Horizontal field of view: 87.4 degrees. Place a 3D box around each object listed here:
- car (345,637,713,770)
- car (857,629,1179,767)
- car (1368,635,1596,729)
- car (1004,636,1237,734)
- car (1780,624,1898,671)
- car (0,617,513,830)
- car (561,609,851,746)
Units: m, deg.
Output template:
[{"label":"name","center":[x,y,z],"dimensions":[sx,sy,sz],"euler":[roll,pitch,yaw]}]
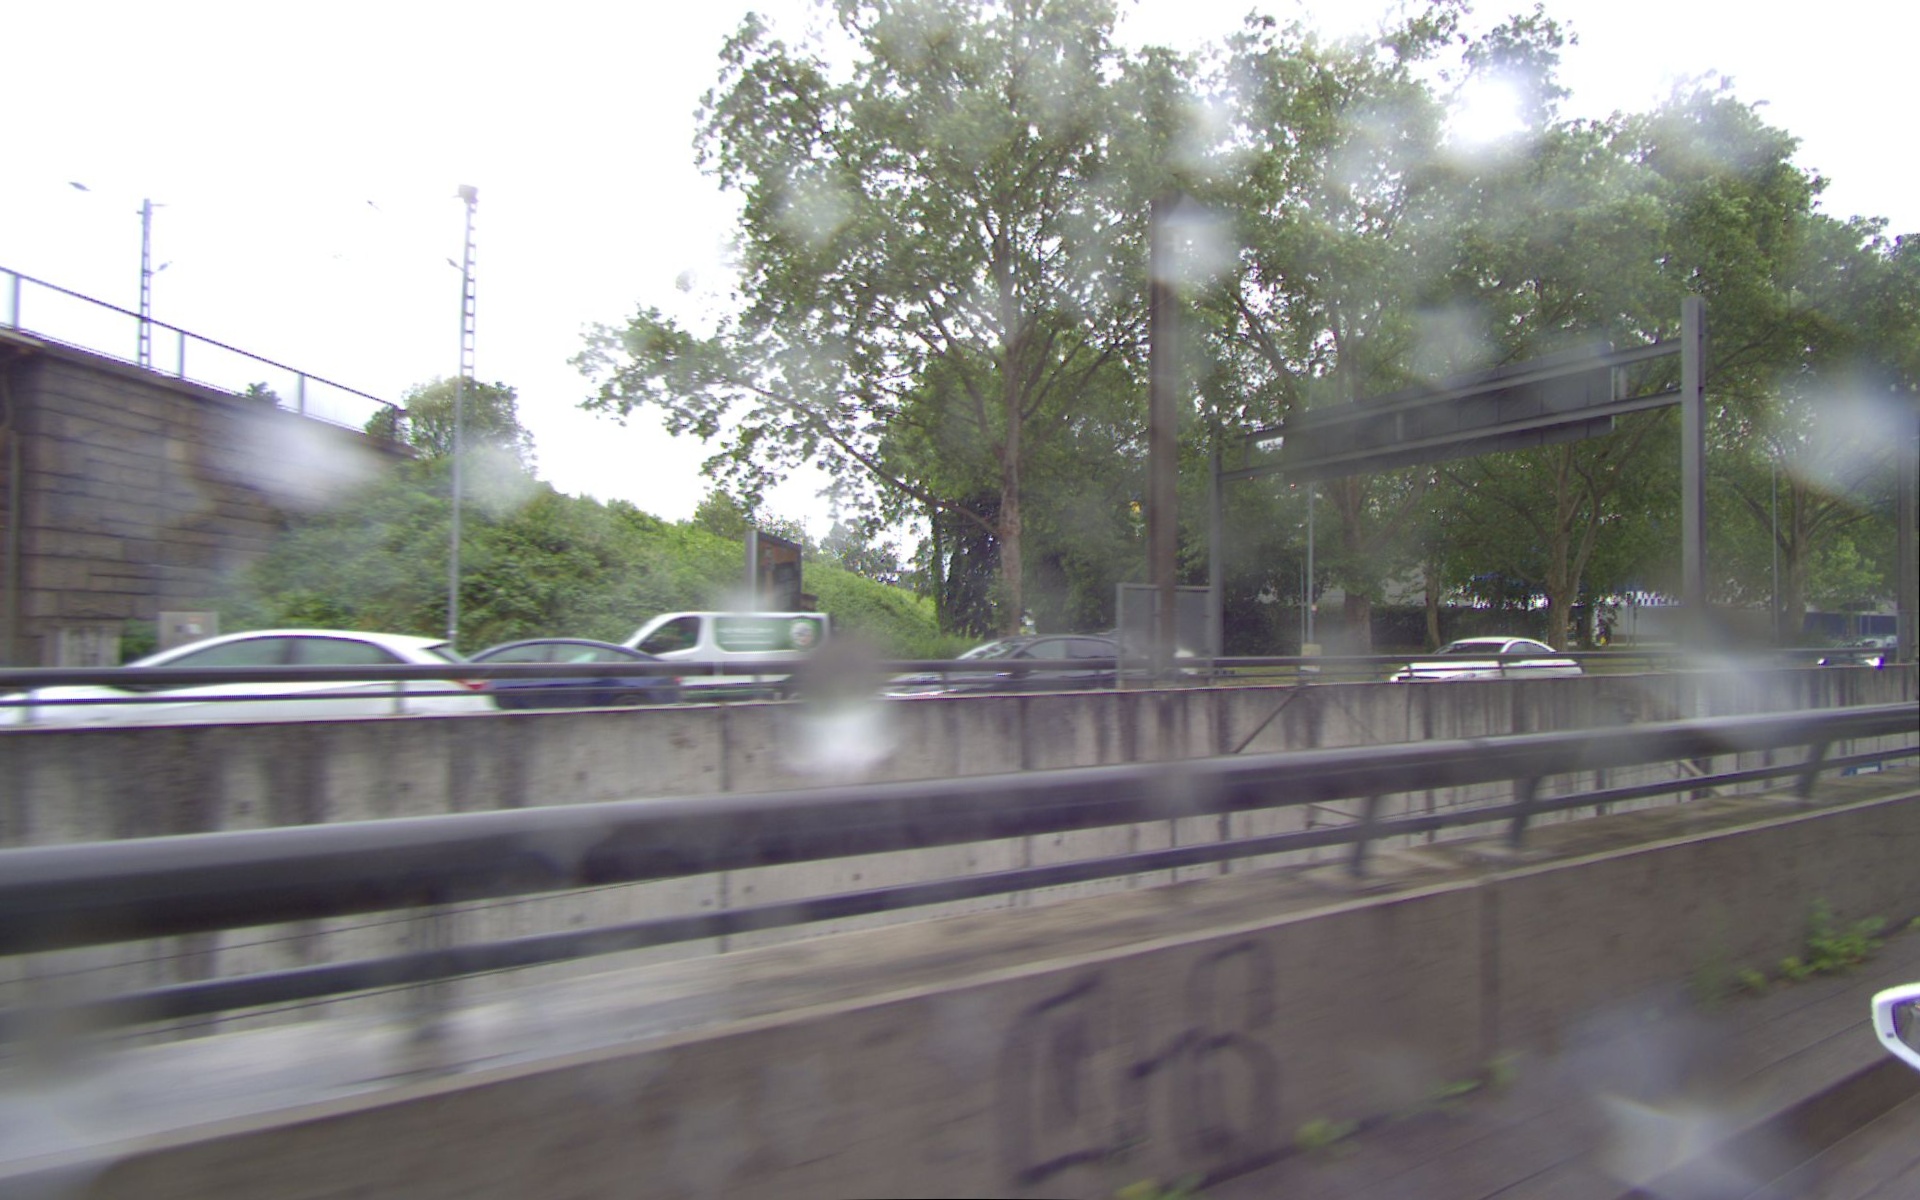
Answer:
[{"label":"car","center":[-5.994,1.355,14.204],"dimensions":[4.497,1.594,1.970],"euler":[2,-2,-30]},{"label":"car","center":[0.825,1.258,13.930],"dimensions":[4.039,1.654,1.985],"euler":[2,-2,-29]},{"label":"car","center":[10.359,1.552,19.855],"dimensions":[4.528,1.654,1.983],"euler":[2,-2,-31]},{"label":"car","center":[3.023,1.518,18.752],"dimensions":[4.039,1.654,1.840],"euler":[2,-2,-29]},{"label":"car","center":[31.102,1.654,35.540],"dimensions":[3.950,1.592,1.900],"euler":[1,-2,-28]},{"label":"car","center":[-6.492,1.031,9.460],"dimensions":[4.037,1.654,1.986],"euler":[2,-2,-28]},{"label":"car","center":[-4.519,1.330,18.145],"dimensions":[4.791,2.198,1.746],"euler":[2,-2,-30]}]
